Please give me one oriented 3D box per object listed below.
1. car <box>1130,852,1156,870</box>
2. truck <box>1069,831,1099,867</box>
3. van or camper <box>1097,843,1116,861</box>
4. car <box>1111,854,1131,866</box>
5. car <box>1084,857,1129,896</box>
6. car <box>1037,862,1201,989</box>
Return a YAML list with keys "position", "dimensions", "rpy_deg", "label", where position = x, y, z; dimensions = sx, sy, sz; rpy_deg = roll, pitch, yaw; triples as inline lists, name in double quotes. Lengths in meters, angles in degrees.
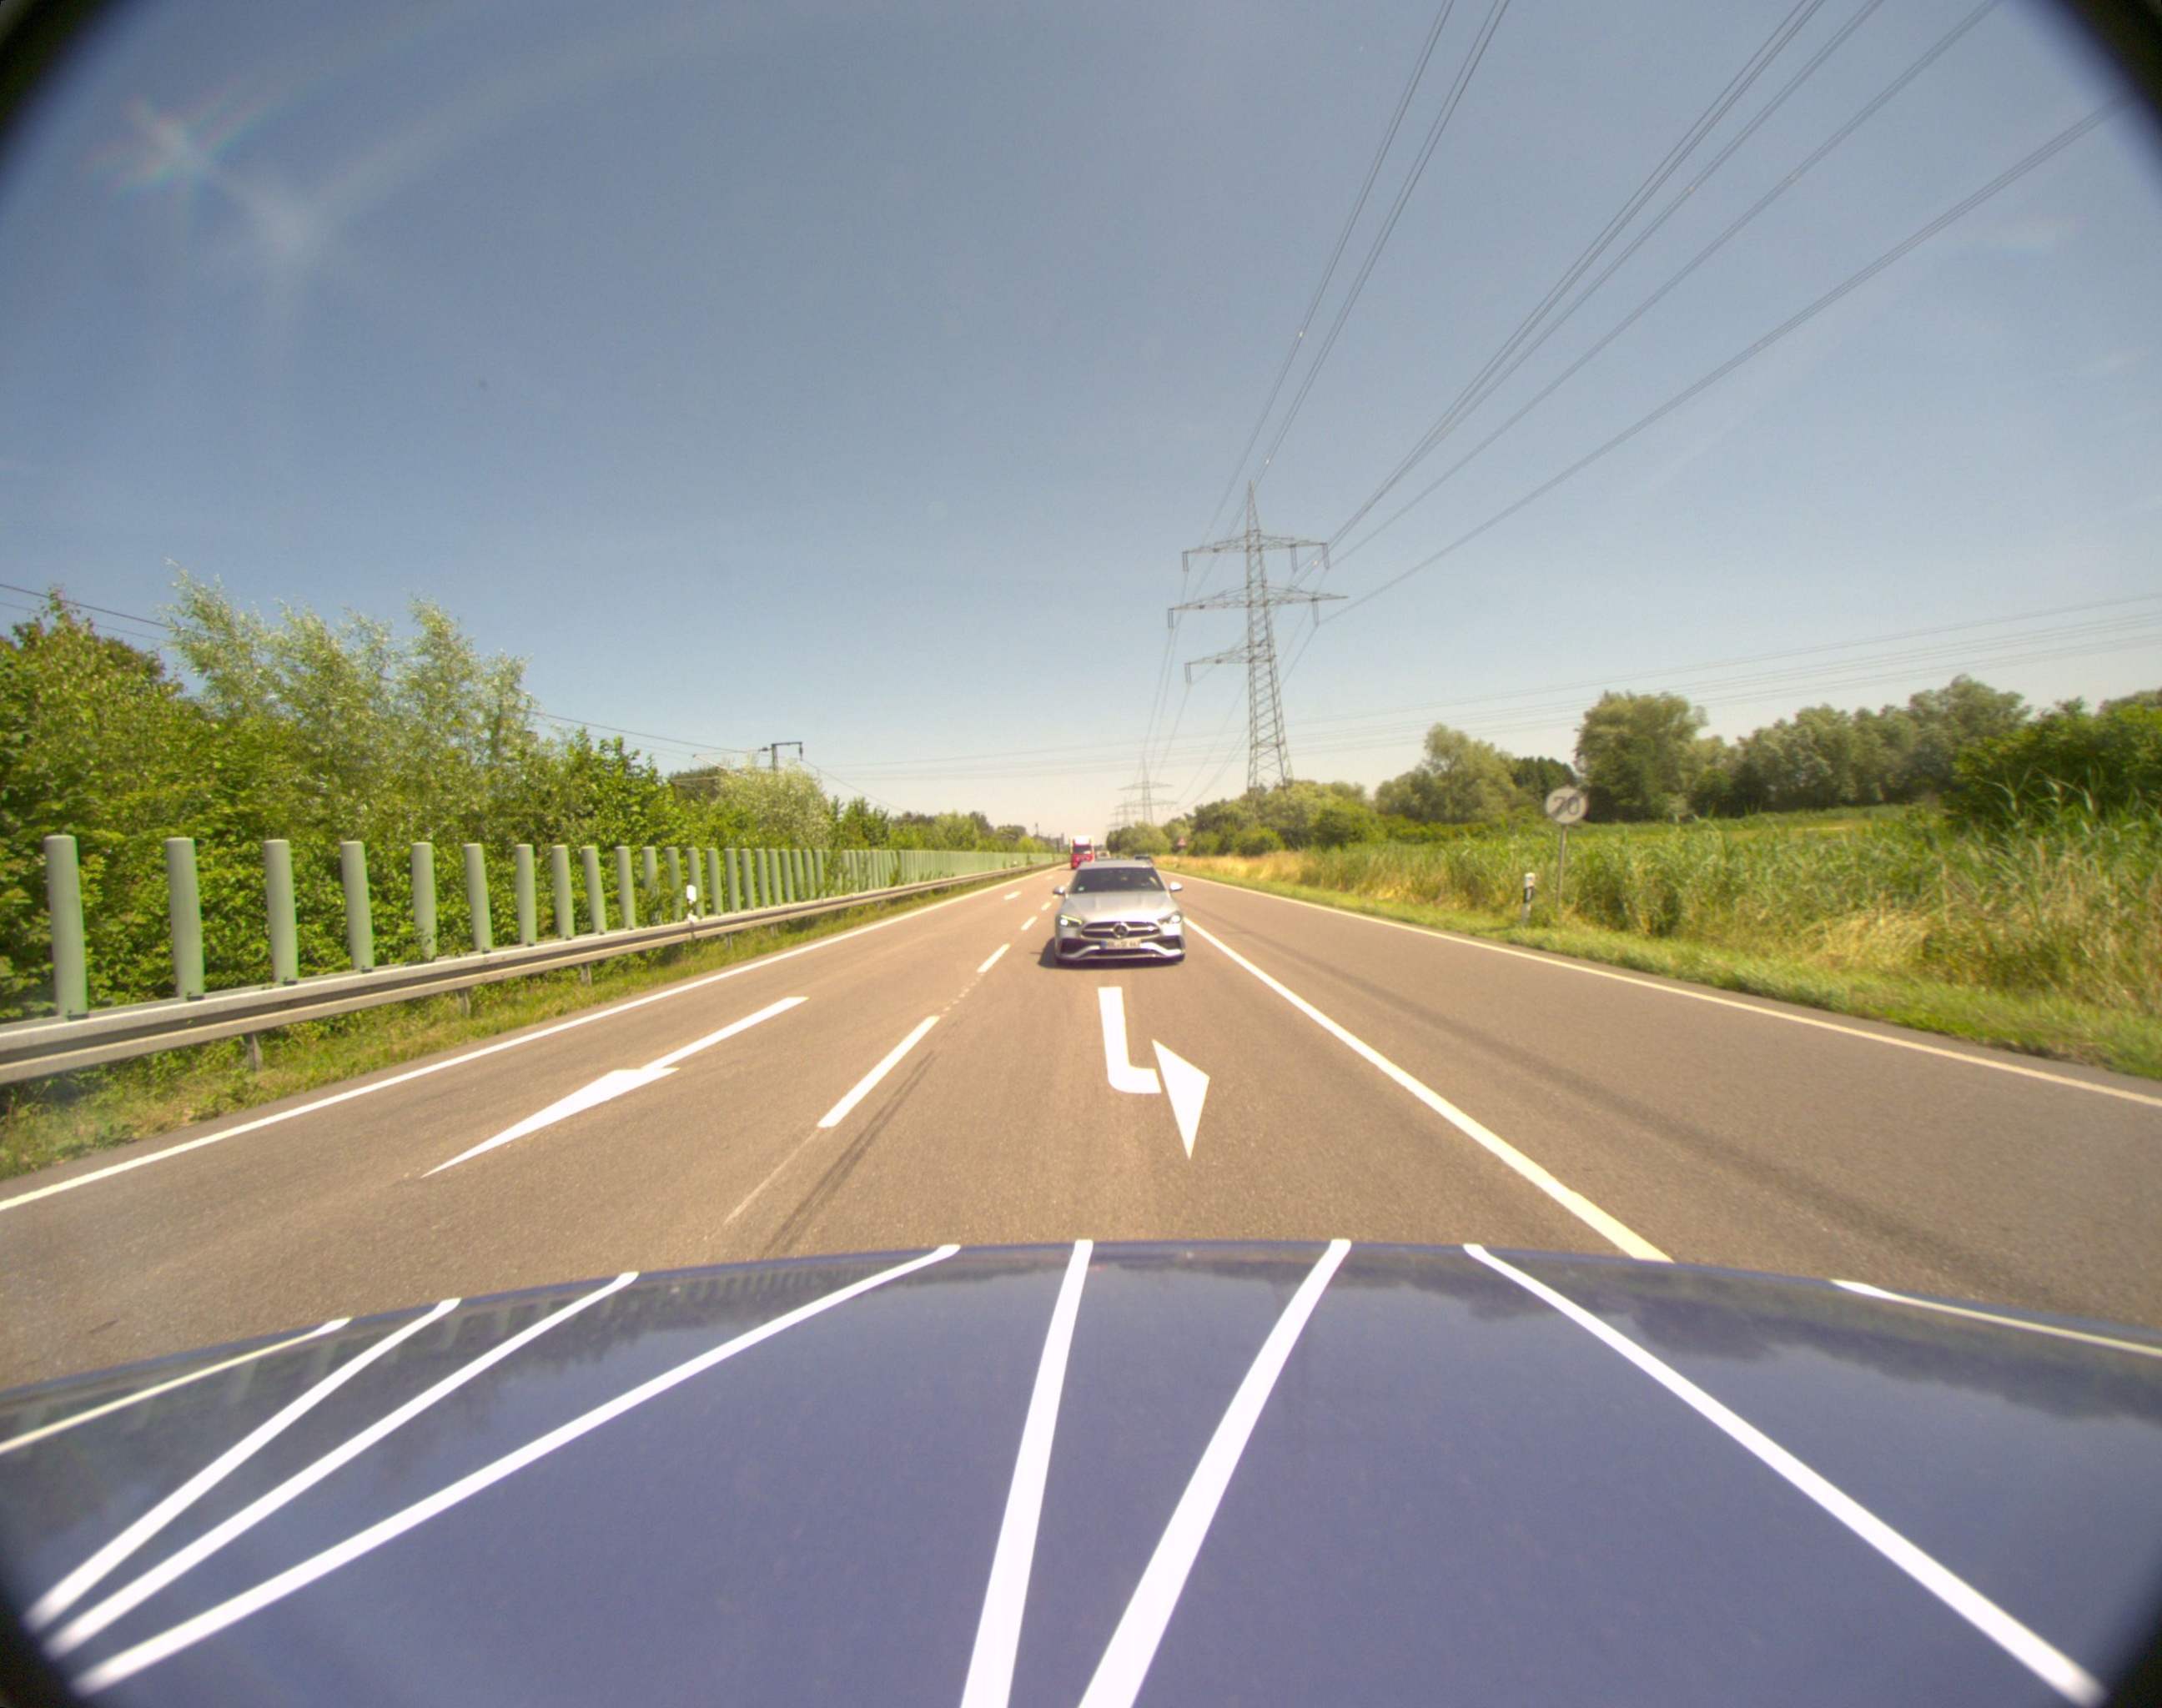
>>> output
- position: [5.142, 0.553, 63.010]
  dimensions: [1.749, 1.425, 4.322]
  rpy_deg: [-2, 0, 0]
  label: "car"
- position: [0.397, -0.546, 84.676]
  dimensions: [2.907, 3.641, 7.156]
  rpy_deg: [-4, 0, 1]
  label: "truck"
- position: [4.185, -0.398, 126.171]
  dimensions: [2.578, 2.865, 6.744]
  rpy_deg: [-2, 1, -2]
  label: "van or camper"
- position: [4.400, 0.694, 84.322]
  dimensions: [1.864, 1.221, 4.322]
  rpy_deg: [-2, 0, 0]
  label: "car"
- position: [1.080, 0.876, 31.468]
  dimensions: [1.697, 1.385, 4.468]
  rpy_deg: [-2, 0, 2]
  label: "car"
- position: [0.536, 0.919, 11.652]
  dimensions: [1.998, 1.437, 4.467]
  rpy_deg: [-2, 0, 2]
  label: "car"
